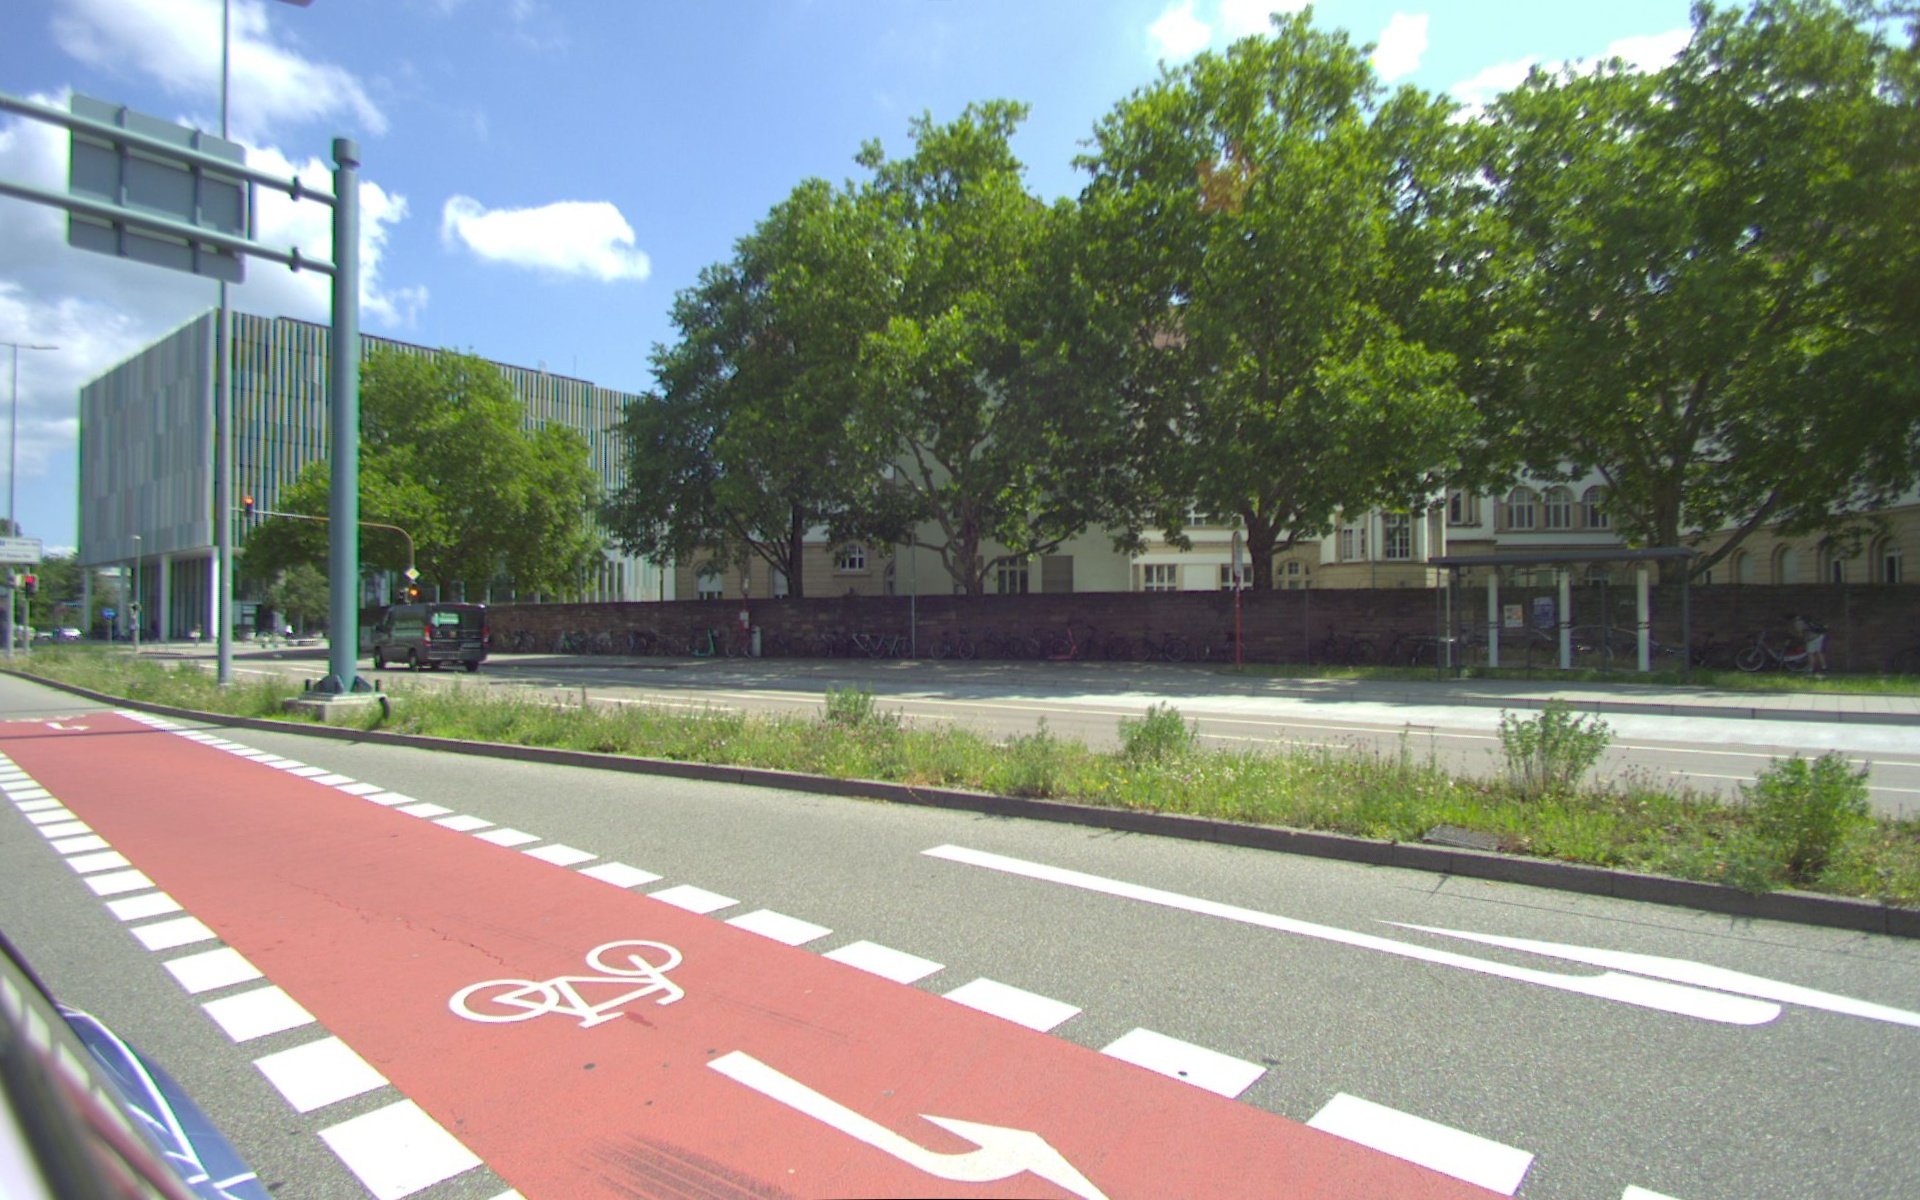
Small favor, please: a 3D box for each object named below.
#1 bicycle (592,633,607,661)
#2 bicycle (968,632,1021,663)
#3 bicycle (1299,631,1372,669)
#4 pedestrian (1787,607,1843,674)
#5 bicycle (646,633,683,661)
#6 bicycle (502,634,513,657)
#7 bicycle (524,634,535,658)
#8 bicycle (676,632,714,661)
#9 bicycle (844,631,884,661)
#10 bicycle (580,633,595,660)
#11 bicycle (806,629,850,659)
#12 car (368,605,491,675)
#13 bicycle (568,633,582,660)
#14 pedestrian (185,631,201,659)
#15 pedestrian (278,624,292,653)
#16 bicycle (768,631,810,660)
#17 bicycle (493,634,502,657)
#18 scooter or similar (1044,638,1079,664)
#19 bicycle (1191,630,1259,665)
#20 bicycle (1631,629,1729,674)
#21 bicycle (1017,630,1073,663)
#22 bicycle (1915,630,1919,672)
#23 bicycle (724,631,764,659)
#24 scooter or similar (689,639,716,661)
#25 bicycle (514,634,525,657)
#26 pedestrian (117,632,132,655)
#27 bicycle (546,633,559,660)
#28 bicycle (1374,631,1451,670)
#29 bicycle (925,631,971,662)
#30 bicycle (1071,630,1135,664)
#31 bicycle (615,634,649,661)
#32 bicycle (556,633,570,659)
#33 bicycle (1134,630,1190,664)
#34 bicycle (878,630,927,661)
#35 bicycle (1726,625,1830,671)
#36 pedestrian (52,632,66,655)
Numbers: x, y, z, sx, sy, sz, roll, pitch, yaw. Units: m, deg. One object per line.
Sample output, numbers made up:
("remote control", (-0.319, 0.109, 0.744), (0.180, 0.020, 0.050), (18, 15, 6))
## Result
("bicycle", (-15.270, 1.981, 42.828), (0.376, 1.116, 1.675), (1, -2, -28))
("bicycle", (1.127, 1.570, 33.548), (1.753, 1.011, 0.394), (-1, -2, 27))
("bicycle", (10.796, 1.433, 29.132), (1.945, 1.051, 0.395), (-1, -2, 22))
("pedestrian", (21.129, 0.990, 25.022), (0.773, 1.623, 0.720), (-1, -2, 12))
("bicycle", (-11.945, 1.904, 40.882), (1.664, 1.116, 0.379), (-1, -2, 31))
("bicycle", (-20.797, 2.081, 46.504), (0.324, 1.025, 1.675), (1, -2, -28))
("bicycle", (-19.409, 2.072, 45.602), (0.324, 1.025, 1.675), (1, -2, -28))
("bicycle", (-10.485, 1.841, 40.021), (1.663, 1.116, 0.379), (-1, -2, 29))
("bicycle", (-3.409, 1.619, 35.899), (1.409, 1.051, 0.374), (-1, -2, 27))
("bicycle", (-15.927, 1.989, 43.223), (0.376, 1.116, 1.675), (1, -2, -28))
("bicycle", (-4.785, 1.595, 36.664), (1.663, 1.051, 0.379), (-1, -2, 29))
("car", (-17.745, 1.347, 33.795), (4.519, 2.188, 2.185), (-2, -4, 42))
("bicycle", (-16.640, 2.002, 43.713), (0.376, 1.116, 1.675), (1, -2, -28))
("pedestrian", (-54.589, 3.197, 72.008), (0.806, 1.931, 0.706), (-1, 0, 36))
("pedestrian", (-46.412, 2.630, 69.605), (0.718, 1.932, 0.624), (-1, 0, 38))
("bicycle", (-6.354, 1.676, 37.560), (1.663, 1.051, 0.379), (-1, -2, 29))
("bicycle", (-21.432, 2.089, 46.886), (0.324, 1.025, 1.675), (1, -2, -28))
("scooter or similar", (3.187, 1.607, 31.800), (1.060, 0.800, 0.351), (-1, -2, 17))
("bicycle", (7.963, 1.425, 30.425), (1.945, 1.051, 0.395), (-1, -2, 22))
("bicycle", (18.715, 1.344, 26.337), (2.022, 1.146, 0.396), (-1, -2, 18))
("bicycle", (2.744, 1.505, 32.725), (1.752, 1.051, 0.394), (-1, -2, 26))
("bicycle", (24.360, 1.247, 24.593), (1.671, 1.038, 0.396), (-1, -2, 15))
("bicycle", (-8.261, 1.704, 38.693), (1.663, 1.051, 0.379), (-1, -2, 29))
("scooter or similar", (-9.875, 1.909, 38.836), (1.065, 0.850, 0.350), (-1, -2, 29))
("bicycle", (-20.014, 2.074, 45.992), (0.324, 1.025, 1.675), (1, -2, -28))
("pedestrian", (-71.344, 3.717, 86.422), (0.806, 1.931, 0.816), (-1, 0, 36))
("bicycle", (-17.819, 2.017, 44.263), (0.376, 1.116, 1.675), (1, -2, -28))
("bicycle", (12.656, 1.404, 28.341), (1.945, 1.051, 0.395), (-1, -2, 22))
("bicycle", (-0.407, 1.577, 34.347), (1.576, 1.051, 0.394), (-1, -2, 27))
("bicycle", (4.495, 1.466, 31.883), (1.946, 1.051, 0.395), (-1, -2, 25))
("bicycle", (-13.631, 1.971, 42.007), (1.665, 1.116, 0.378), (-1, -2, 32))
("bicycle", (-17.322, 2.011, 44.170), (0.376, 1.116, 1.675), (1, -2, -28))
("bicycle", (6.216, 1.441, 31.155), (1.629, 1.051, 0.395), (-1, -2, 22))
("bicycle", (-1.992, 1.577, 35.157), (1.753, 1.051, 0.394), (-1, -2, 27))
("bicycle", (20.762, 1.223, 25.728), (2.022, 1.146, 0.396), (-1, -2, 18))
("pedestrian", (-79.365, 3.823, 89.152), (0.806, 1.931, 0.706), (-1, 0, 36))
